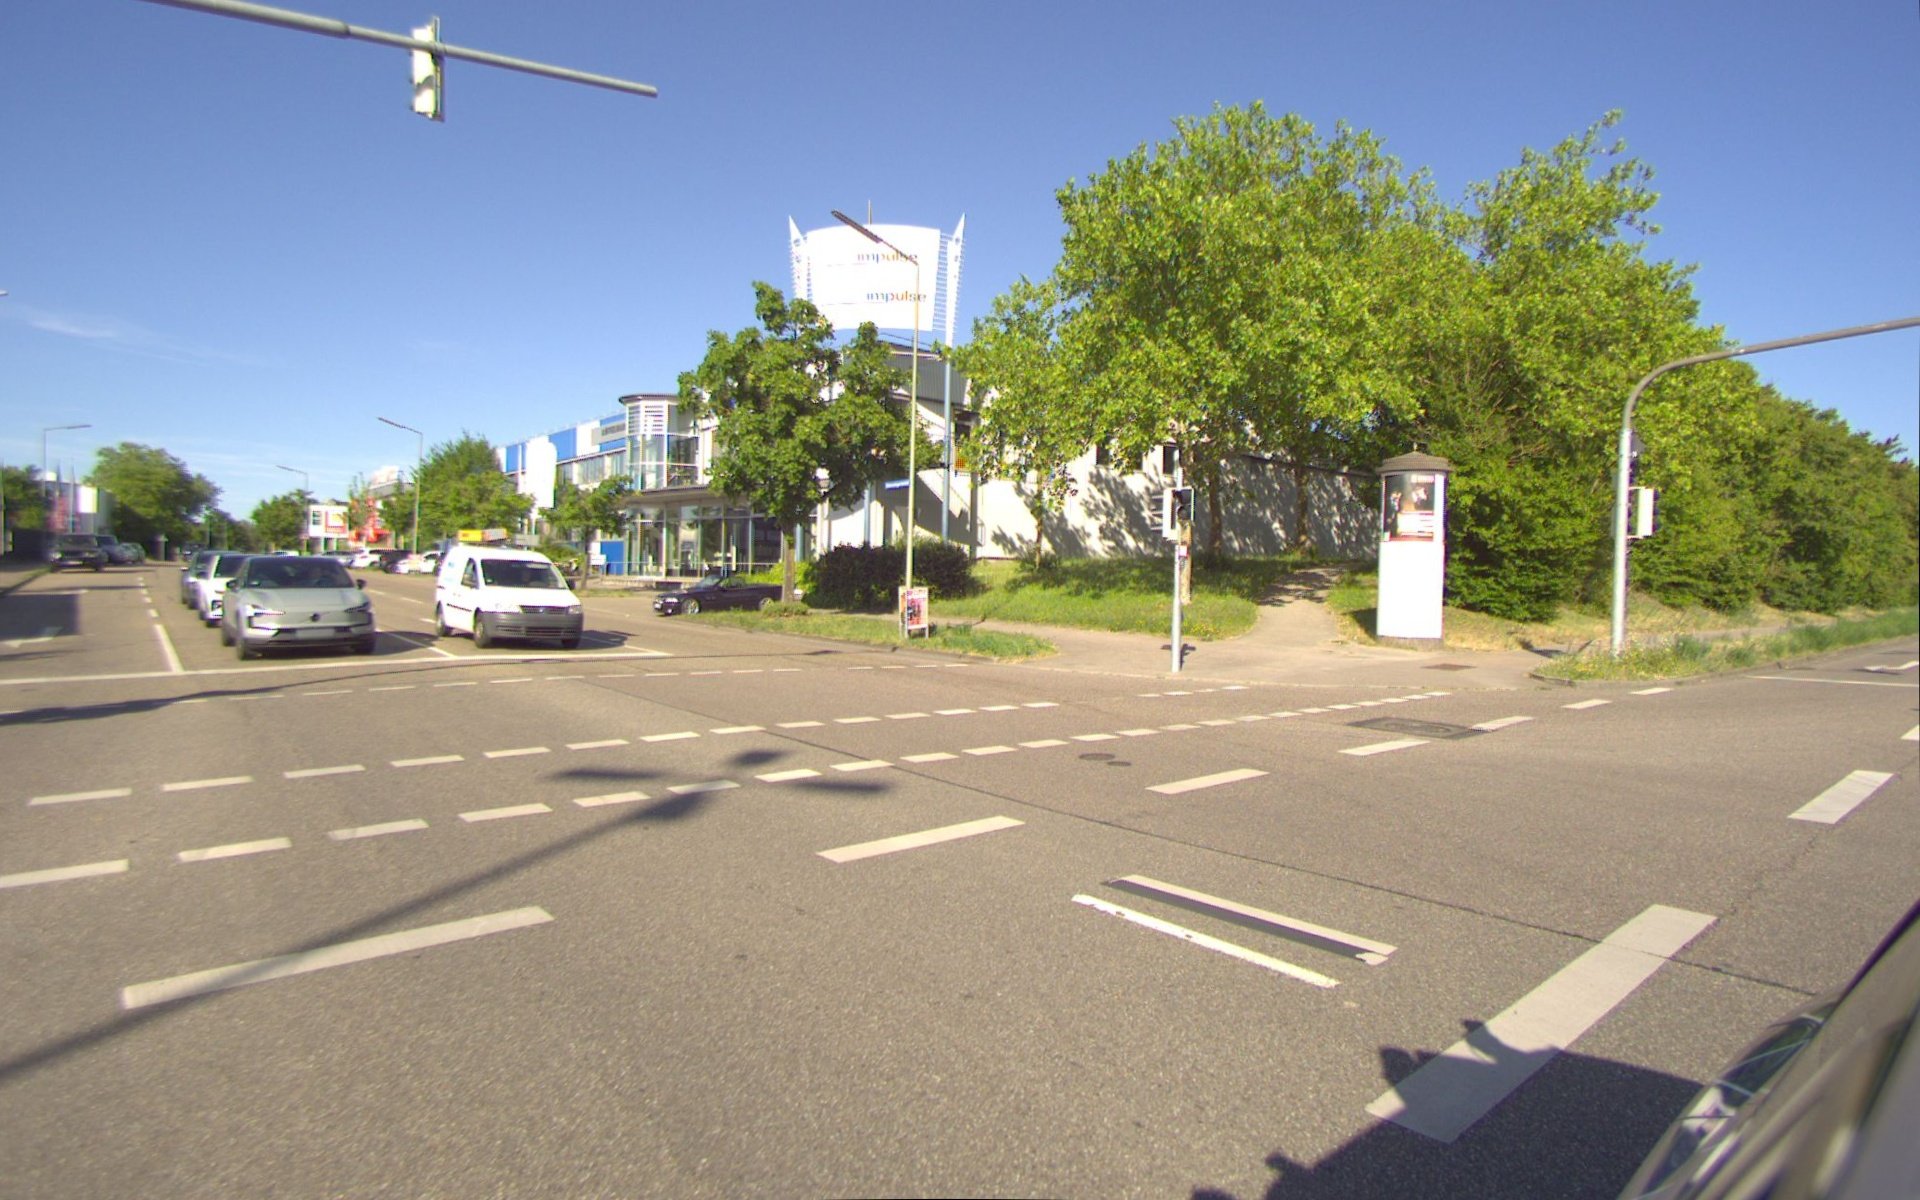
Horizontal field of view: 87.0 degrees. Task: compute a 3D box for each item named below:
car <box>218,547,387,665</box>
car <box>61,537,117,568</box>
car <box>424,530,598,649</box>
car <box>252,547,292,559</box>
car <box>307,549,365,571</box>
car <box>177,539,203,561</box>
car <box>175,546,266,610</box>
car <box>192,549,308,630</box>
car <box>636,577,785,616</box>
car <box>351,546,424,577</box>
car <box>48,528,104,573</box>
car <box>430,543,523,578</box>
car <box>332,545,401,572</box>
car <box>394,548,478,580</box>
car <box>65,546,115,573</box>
[{"bbox_3d":[-10.877,-0.025,16.613,1.868,1.665,4.101,-2,4,-39],"label":"car"},{"bbox_3d":[-50.058,-2.744,58.233,1.962,1.663,4.002,-1,3,-34],"label":"car"},{"bbox_3d":[-8.564,-0.248,19.059,1.839,1.958,4.691,-1,2,-39],"label":"car"},{"bbox_3d":[-84.484,-5.779,124.225,3.927,1.381,1.780,-1,1,-38],"label":"car"},{"bbox_3d":[-53.486,-3.413,86.777,4.078,1.874,1.720,-1,2,-41],"label":"car"},{"bbox_3d":[-76.612,-4.923,100.719,1.671,2.039,4.002,0,0,-32],"label":"car"},{"bbox_3d":[-20.261,-0.672,27.654,1.776,1.608,3.928,-2,4,-39],"label":"car"},{"bbox_3d":[-15.664,-0.315,22.246,1.776,1.608,3.928,-2,4,-39],"label":"car"},{"bbox_3d":[-7.846,-0.147,32.051,4.287,1.137,1.719,-1,2,-42],"label":"car"},{"bbox_3d":[-40.633,-2.706,71.847,4.286,2.044,1.720,0,2,-41],"label":"car"},{"bbox_3d":[-42.345,-2.334,48.562,1.706,1.993,3.998,0,0,-37],"label":"car"},{"bbox_3d":[-26.177,-2.114,54.895,4.286,1.859,1.720,-1,2,-41],"label":"car"},{"bbox_3d":[-45.230,-3.158,77.176,4.286,2.008,1.720,-1,2,-41],"label":"car"},{"bbox_3d":[-31.970,-2.163,61.784,4.286,1.858,1.720,0,2,-41],"label":"car"},{"bbox_3d":[-54.738,-2.568,63.755,1.962,1.618,4.002,0,2,-34],"label":"car"}]
